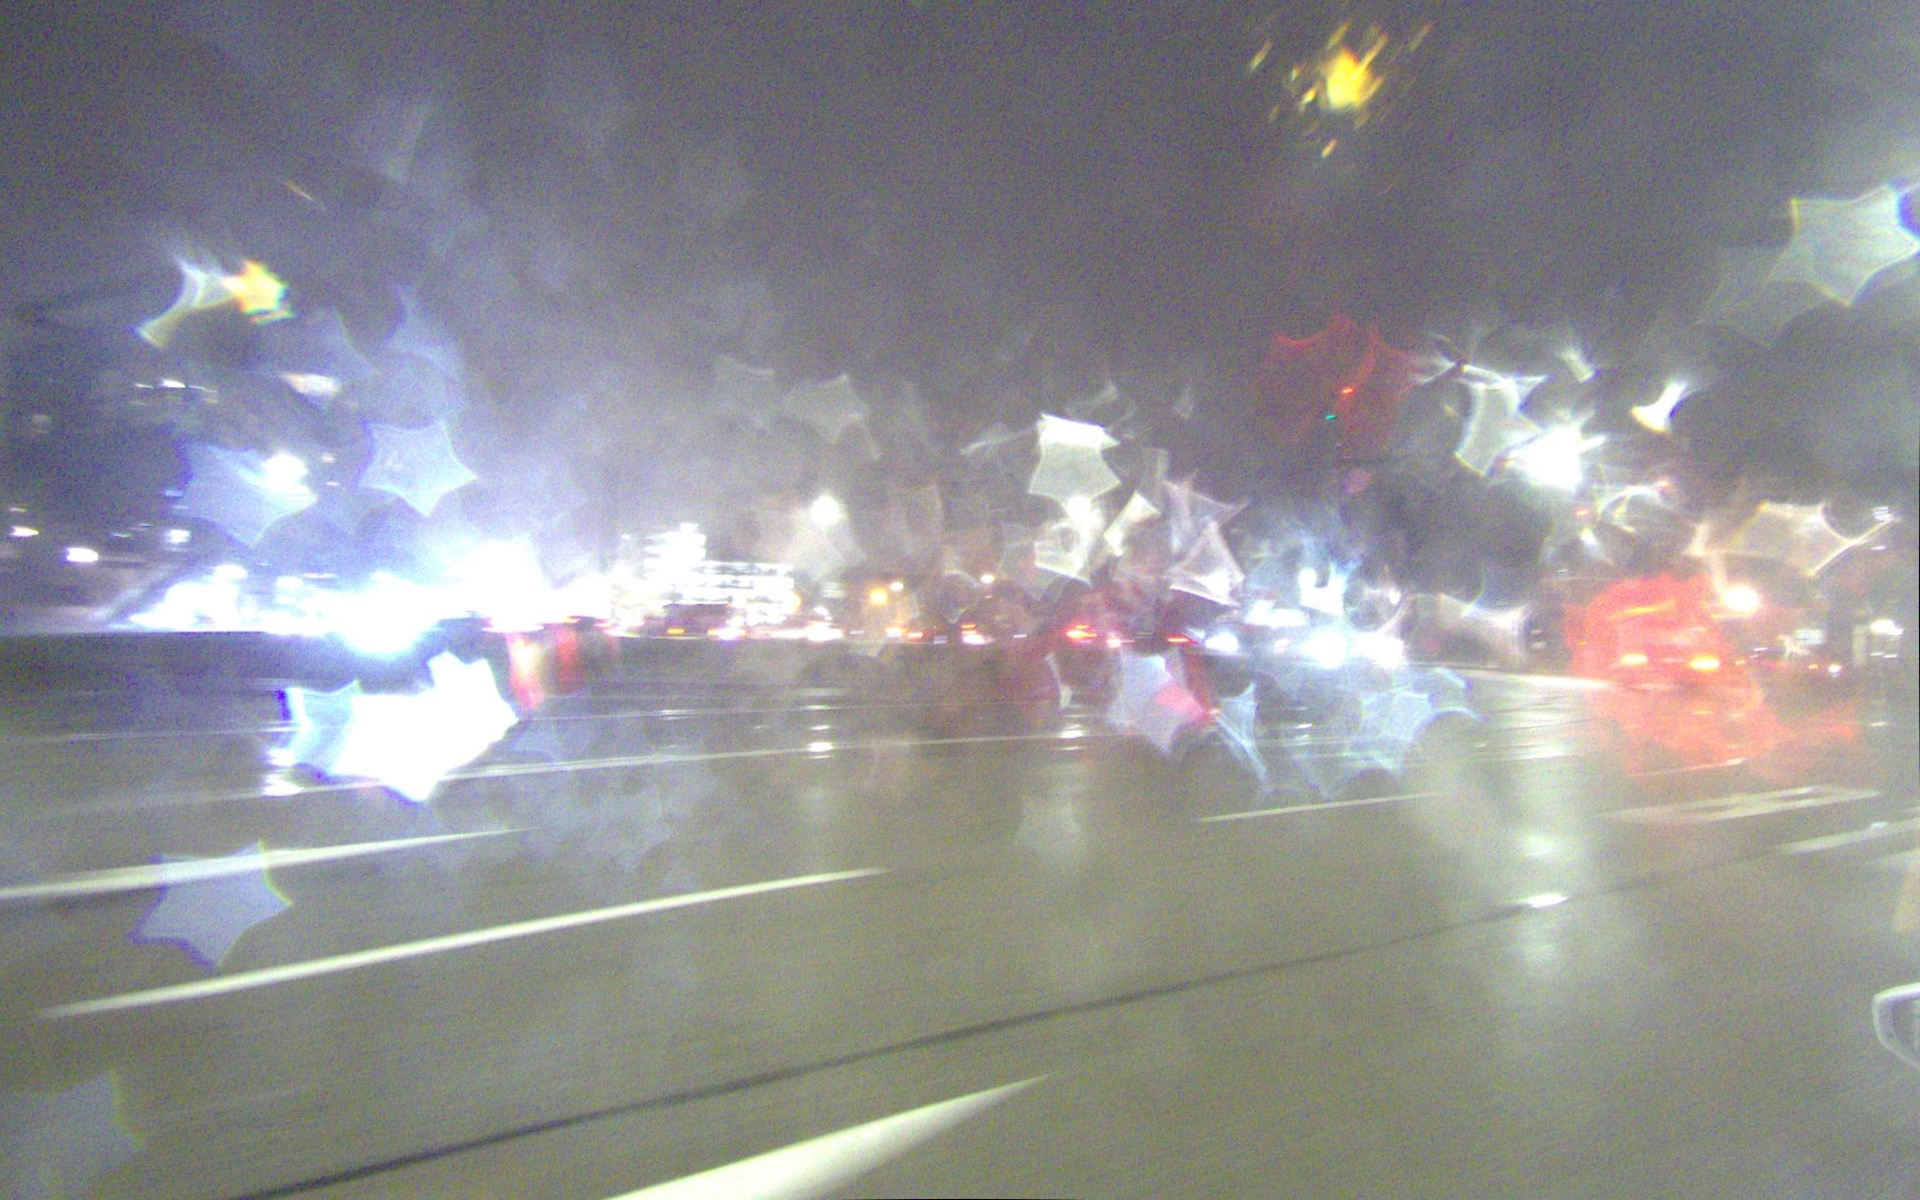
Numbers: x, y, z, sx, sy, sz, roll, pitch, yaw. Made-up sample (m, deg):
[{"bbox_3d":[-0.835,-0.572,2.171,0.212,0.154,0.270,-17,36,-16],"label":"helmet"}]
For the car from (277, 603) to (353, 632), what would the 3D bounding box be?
[{"bbox_3d":[-39.702,1.097,61.966,1.737,1.639,3.876,2,-1,9],"label":"car"}]

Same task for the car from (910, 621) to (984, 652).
[{"bbox_3d":[-0.773,2.158,59.773,3.887,1.599,1.877,2,-1,21],"label":"car"}]

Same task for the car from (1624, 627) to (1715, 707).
[{"bbox_3d":[20.490,1.885,28.975,1.968,2.040,4.542,2,-1,36],"label":"car"}]

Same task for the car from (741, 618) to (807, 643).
[{"bbox_3d":[-12.502,2.065,67.670,3.919,1.505,1.770,2,-1,8],"label":"car"}]

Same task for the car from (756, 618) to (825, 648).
[{"bbox_3d":[-10.583,2.057,62.978,3.920,1.637,1.837,3,-1,2],"label":"car"}]

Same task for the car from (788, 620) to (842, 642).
[{"bbox_3d":[-10.861,2.319,75.102,3.939,1.505,1.761,2,-1,40],"label":"car"}]

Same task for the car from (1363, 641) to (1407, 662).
[{"bbox_3d":[40.064,4.880,94.555,4.354,1.781,1.858,3,-1,-37],"label":"car"}]

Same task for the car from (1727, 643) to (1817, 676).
[{"bbox_3d":[48.600,3.544,60.174,1.780,1.704,4.015,4,-2,-43],"label":"car"}]

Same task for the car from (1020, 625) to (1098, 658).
[{"bbox_3d":[5.538,2.333,56.411,3.939,1.637,1.829,2,-1,39],"label":"car"}]

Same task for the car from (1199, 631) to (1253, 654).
[{"bbox_3d":[21.009,3.346,79.349,3.843,1.661,1.850,3,-1,-28],"label":"car"}]

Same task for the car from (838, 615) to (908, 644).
[{"bbox_3d":[-5.323,1.789,61.631,3.885,1.599,1.738,2,-1,15],"label":"car"}]

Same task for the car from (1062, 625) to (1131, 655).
[{"bbox_3d":[7.916,2.307,58.233,3.577,1.599,1.728,2,-1,43],"label":"car"}]

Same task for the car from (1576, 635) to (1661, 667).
[{"bbox_3d":[40.384,3.105,61.653,1.901,1.706,3.958,3,-1,-36],"label":"car"}]

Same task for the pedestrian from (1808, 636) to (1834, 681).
[{"bbox_3d":[37.407,2.540,43.645,0.642,1.927,0.728,2,-1,27],"label":"pedestrian"}]

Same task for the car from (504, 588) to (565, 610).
[{"bbox_3d":[-32.665,-0.090,77.217,1.799,1.463,4.014,2,-1,27],"label":"car"}]

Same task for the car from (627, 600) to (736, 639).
[{"bbox_3d":[-17.327,1.208,62.853,6.199,2.116,2.512,3,-1,-8],"label":"car"}]

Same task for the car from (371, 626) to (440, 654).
[{"bbox_3d":[-35.110,2.519,63.671,1.737,1.639,3.876,2,-1,9],"label":"car"}]
